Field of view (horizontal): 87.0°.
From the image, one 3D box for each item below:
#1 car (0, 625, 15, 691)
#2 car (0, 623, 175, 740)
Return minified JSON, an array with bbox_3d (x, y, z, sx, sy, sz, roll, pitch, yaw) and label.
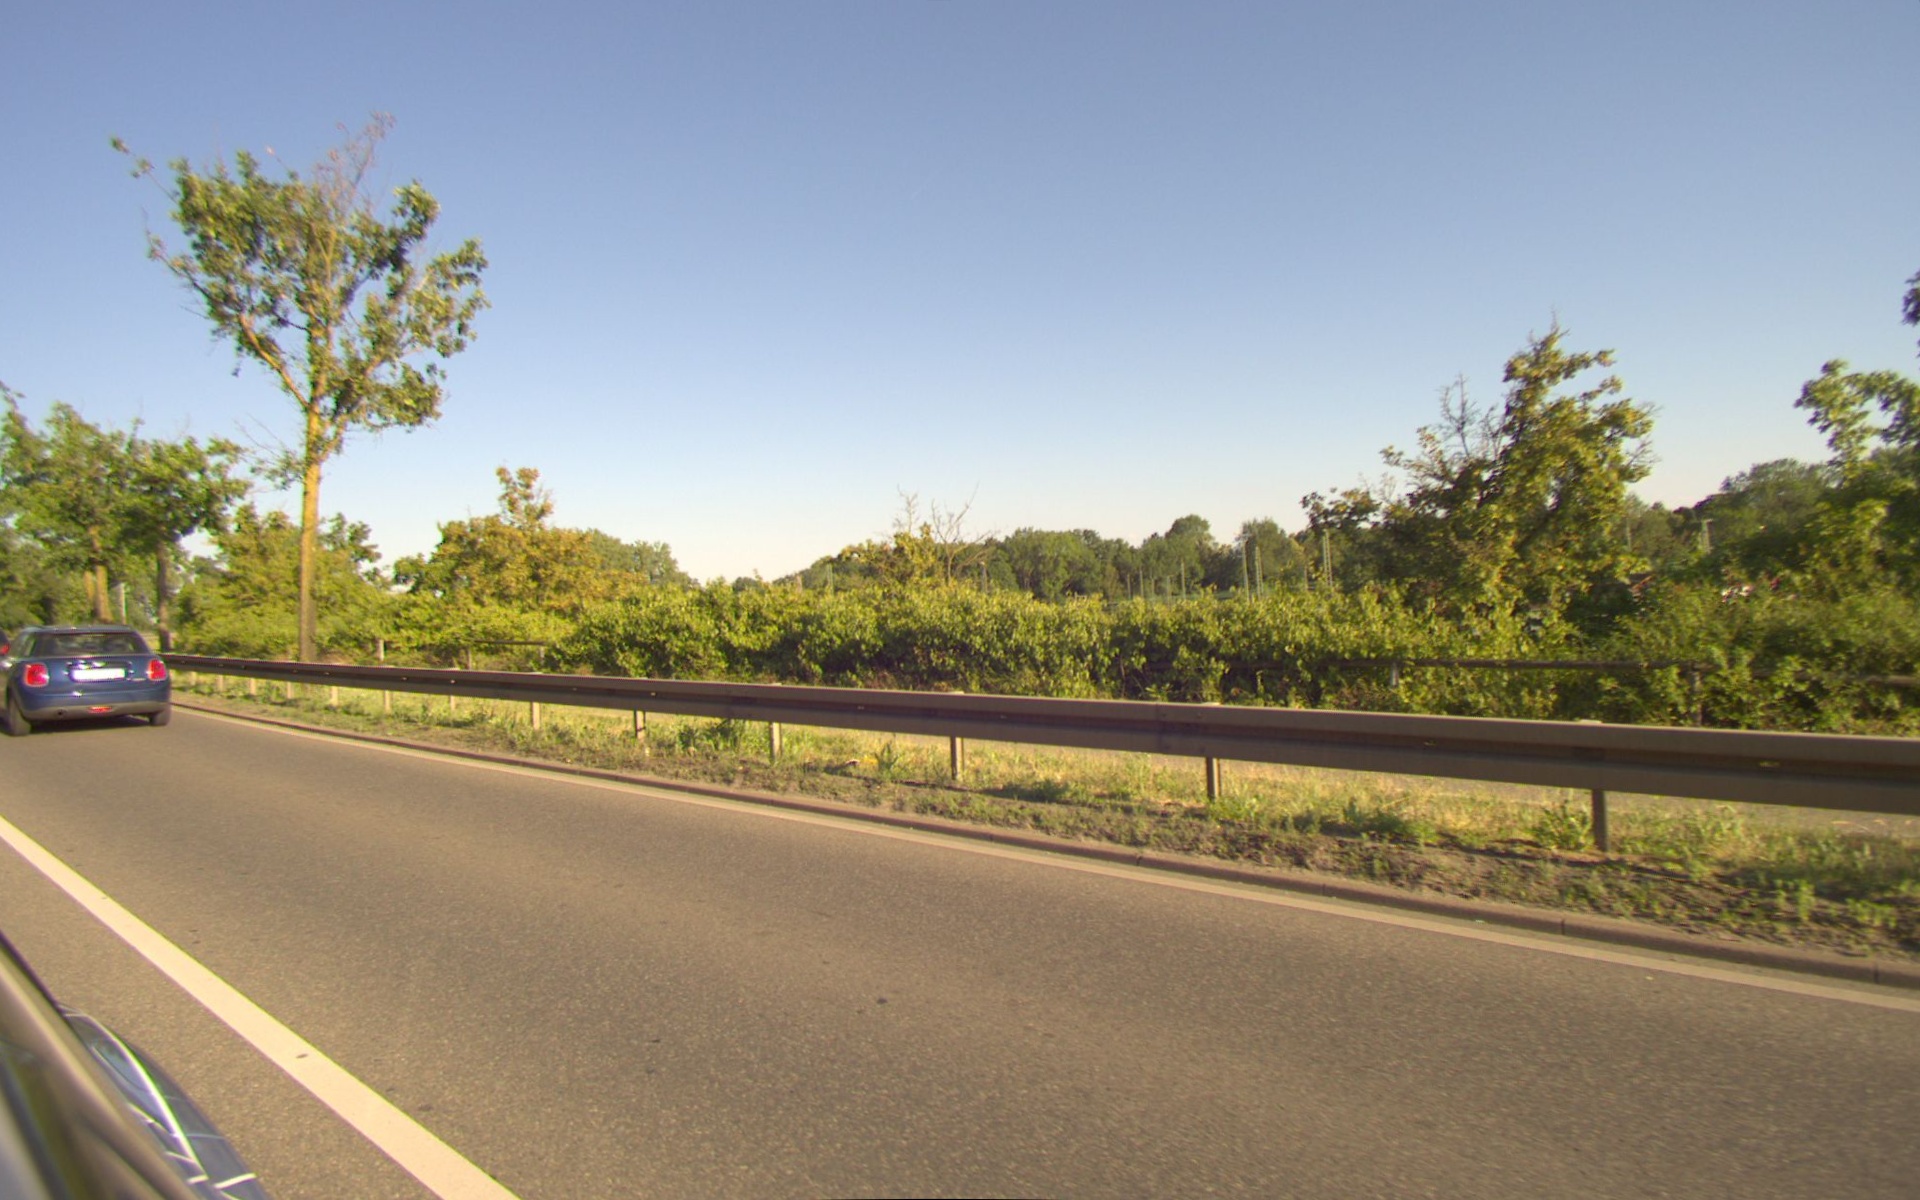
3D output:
[{"bbox_3d":[-23.387,1.343,23.530,3.857,1.478,1.678,-2,-1,41],"label":"car"},{"bbox_3d":[-12.766,1.070,14.459,3.855,1.434,1.666,-2,-1,40],"label":"car"}]
